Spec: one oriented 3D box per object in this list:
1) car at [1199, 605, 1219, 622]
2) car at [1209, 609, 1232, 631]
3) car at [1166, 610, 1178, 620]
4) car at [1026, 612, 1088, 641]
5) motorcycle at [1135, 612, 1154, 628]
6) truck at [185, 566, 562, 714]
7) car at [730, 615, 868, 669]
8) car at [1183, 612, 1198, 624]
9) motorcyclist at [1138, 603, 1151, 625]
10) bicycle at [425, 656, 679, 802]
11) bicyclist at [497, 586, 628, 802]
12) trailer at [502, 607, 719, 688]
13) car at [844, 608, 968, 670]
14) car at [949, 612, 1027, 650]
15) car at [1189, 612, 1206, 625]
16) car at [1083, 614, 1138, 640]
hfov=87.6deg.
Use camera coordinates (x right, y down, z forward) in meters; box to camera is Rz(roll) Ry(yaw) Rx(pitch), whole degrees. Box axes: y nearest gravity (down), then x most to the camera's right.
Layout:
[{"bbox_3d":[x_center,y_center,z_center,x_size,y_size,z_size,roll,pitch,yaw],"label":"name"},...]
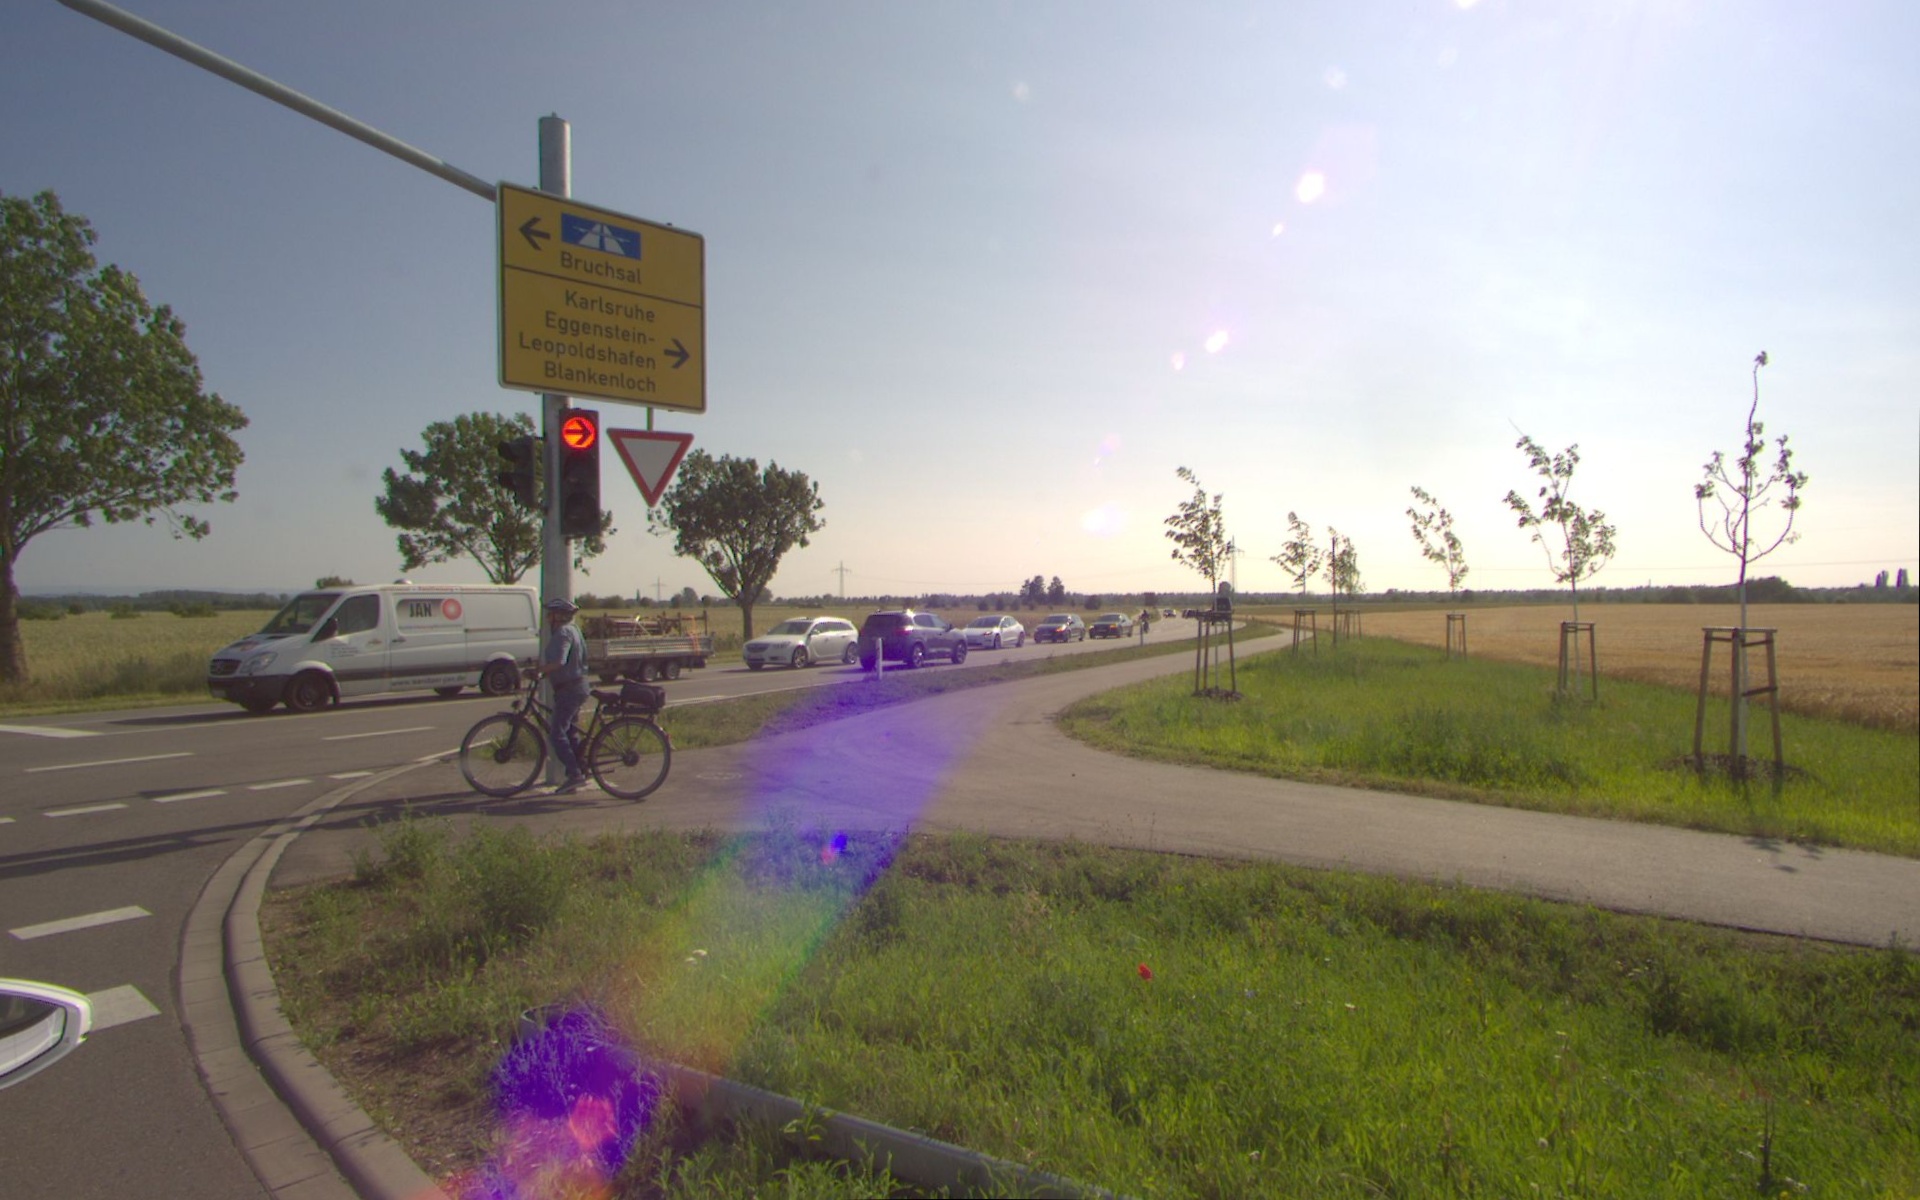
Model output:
[{"bbox_3d":[29.115,1.563,117.149,1.780,1.907,4.001,0,-2,8],"label":"car"},{"bbox_3d":[25.166,1.931,96.499,2.024,2.039,3.996,-1,-2,16],"label":"car"},{"bbox_3d":[36.713,2.670,173.489,1.855,1.646,3.999,-3,-2,11],"label":"car"},{"bbox_3d":[5.130,1.373,52.421,1.866,1.480,4.292,-1,-1,25],"label":"car"},{"bbox_3d":[12.998,1.394,70.512,0.859,1.087,1.962,-1,0,25],"label":"motorcycle"},{"bbox_3d":[-11.117,0.702,19.672,2.041,2.436,6.168,-1,-1,31],"label":"truck"},{"bbox_3d":[-4.840,1.247,30.838,1.738,1.511,4.689,-1,-1,28],"label":"car"},{"bbox_3d":[35.933,2.821,155.896,1.899,1.715,3.886,0,-2,8],"label":"car"},{"bbox_3d":[13.001,1.001,70.495,0.669,1.515,0.844,-1,0,25],"label":"motorcyclist"},{"bbox_3d":[-3.480,1.113,8.717,1.910,1.165,0.681,3,-2,-13],"label":"bicycle"},{"bbox_3d":[-3.441,0.809,8.739,0.901,1.787,0.619,3,-2,-13],"label":"bicyclist"},{"bbox_3d":[-8.381,1.086,24.556,1.951,1.760,4.990,-1,-1,29],"label":"trailer"},{"bbox_3d":[-1.526,1.113,29.939,1.947,1.703,4.092,-1,-1,26],"label":"car"},{"bbox_3d":[1.302,1.321,44.051,1.866,1.485,4.260,-2,0,25],"label":"car"},{"bbox_3d":[32.420,2.535,136.773,1.899,1.822,3.886,0,-2,8],"label":"car"},{"bbox_3d":[9.138,1.606,60.338,1.866,1.455,4.779,-1,-1,27],"label":"car"}]
